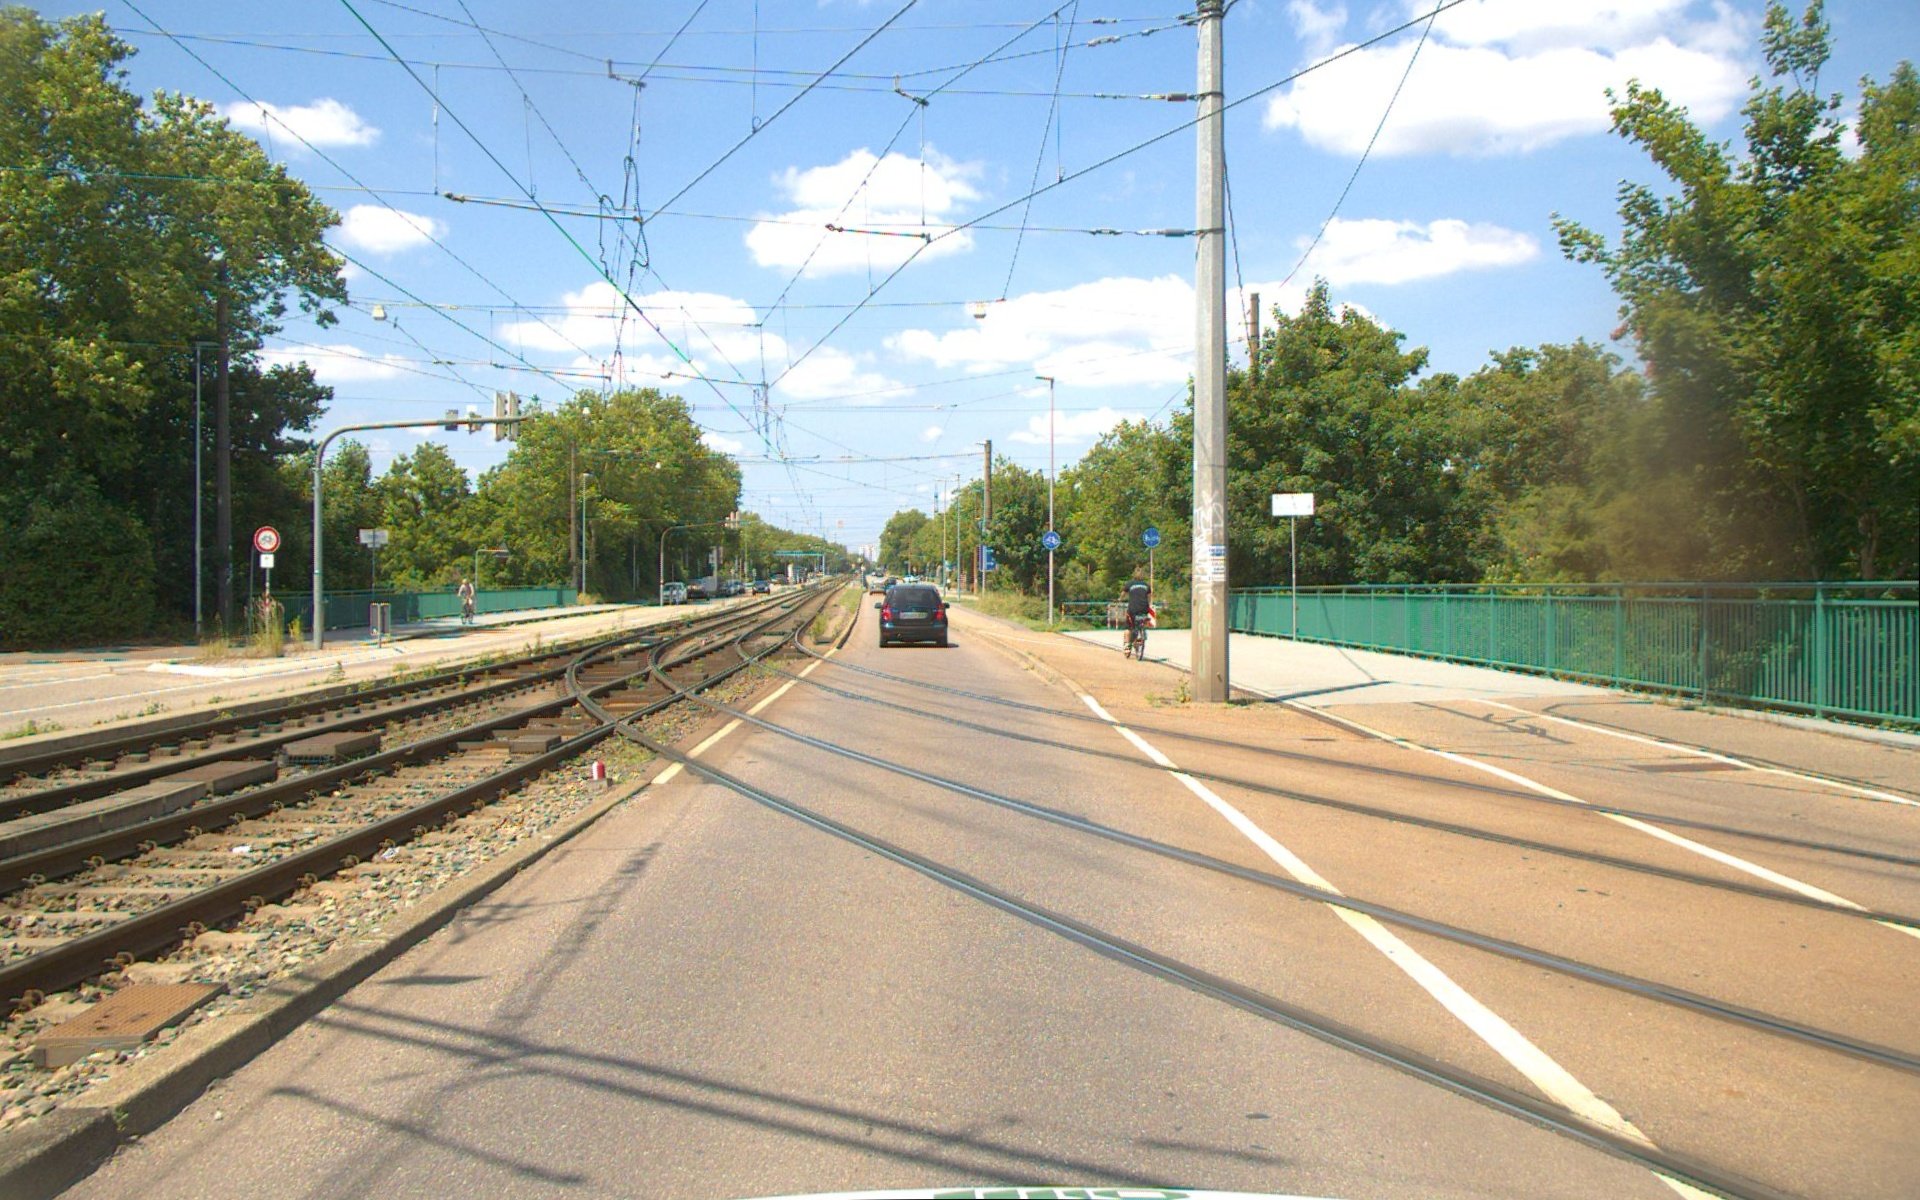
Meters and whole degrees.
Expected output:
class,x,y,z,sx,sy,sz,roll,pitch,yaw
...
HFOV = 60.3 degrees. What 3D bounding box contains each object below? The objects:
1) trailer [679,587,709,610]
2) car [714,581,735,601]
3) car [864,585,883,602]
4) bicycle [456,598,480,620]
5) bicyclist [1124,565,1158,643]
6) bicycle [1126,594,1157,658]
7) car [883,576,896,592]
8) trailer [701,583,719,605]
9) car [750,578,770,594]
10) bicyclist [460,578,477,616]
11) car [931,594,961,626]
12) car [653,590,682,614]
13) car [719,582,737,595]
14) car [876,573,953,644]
class,x,y,z,sx,sy,sz,roll,pitch,yaw
trailer,-23.009,-0.138,143.208,2.415,1.922,5.952,1,0,-8
car,-25.479,-1.014,178.763,1.817,2.048,3.998,2,2,-3
car,-9.381,-0.729,179.923,1.847,1.668,3.999,4,1,-3
bicycle,-19.360,0.348,65.094,0.459,0.883,1.742,1,0,-1
bicyclist,3.605,0.074,32.970,0.573,1.521,0.558,2,1,1
bicycle,3.604,0.500,32.931,0.423,1.172,1.855,2,1,1
car,-10.091,-2.296,236.632,1.751,2.048,3.998,2,2,-3
trailer,-24.696,-0.605,163.579,1.579,2.048,3.911,2,1,-6
car,-22.396,-1.600,185.373,1.838,1.750,5.326,1,0,-4
bicyclist,-19.352,-0.124,65.131,0.447,1.500,0.633,1,0,-1
car,-1.001,0.665,114.763,1.953,2.048,4.000,2,2,-1
car,-22.530,0.122,127.584,1.686,1.659,4.613,-2,2,-4
car,-26.653,-1.315,190.247,1.834,1.425,4.413,1,0,-5
car,-1.124,0.171,42.865,1.815,1.597,4.389,1,2,0
